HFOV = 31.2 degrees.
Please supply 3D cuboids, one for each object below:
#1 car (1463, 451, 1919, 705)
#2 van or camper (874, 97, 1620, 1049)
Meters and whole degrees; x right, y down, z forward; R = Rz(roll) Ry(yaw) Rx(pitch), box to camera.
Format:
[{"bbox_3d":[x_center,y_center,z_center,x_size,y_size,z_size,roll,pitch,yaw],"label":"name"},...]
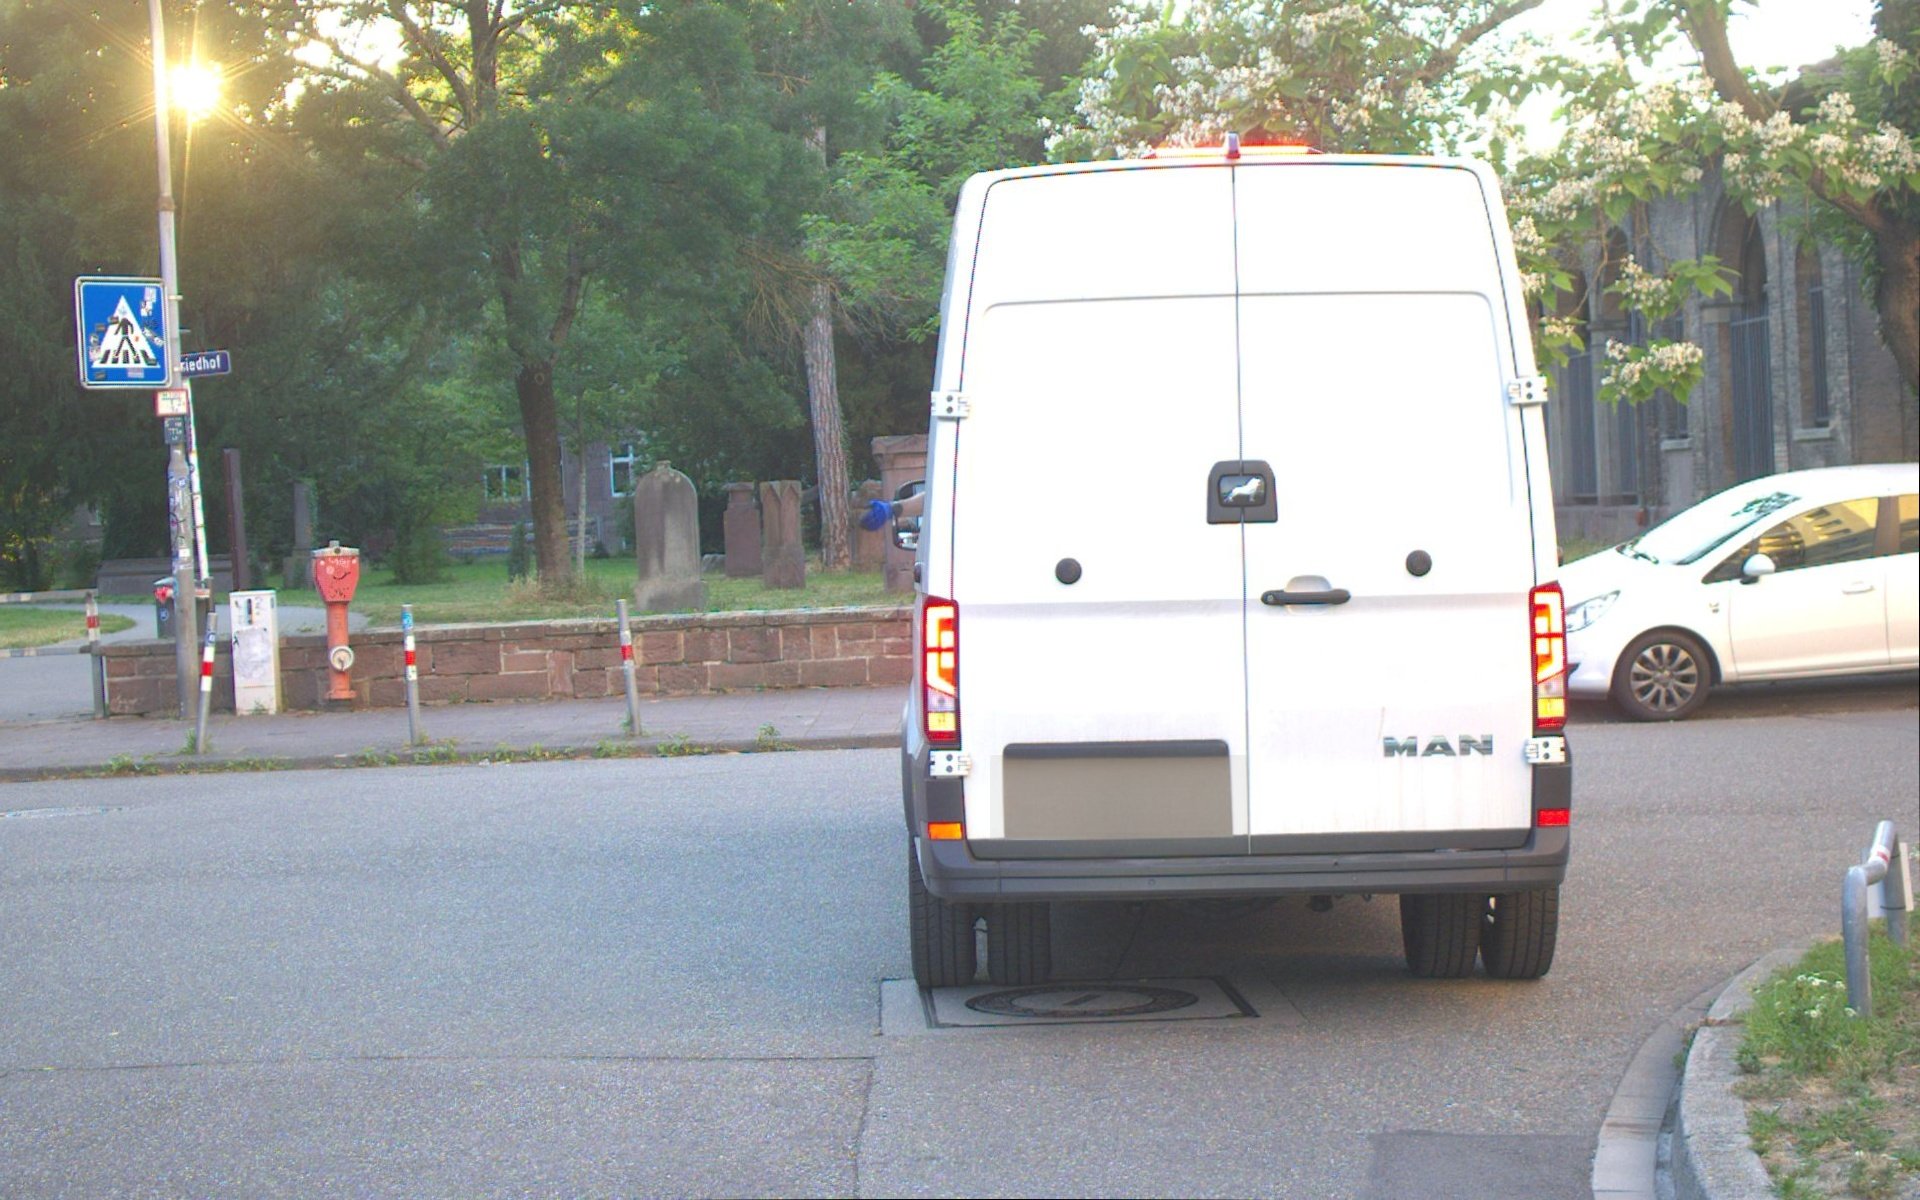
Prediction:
[{"bbox_3d":[5.511,-0.191,23.157,3.854,1.568,1.958,-2,2,-3],"label":"car"},{"bbox_3d":[0.727,-0.120,12.856,1.993,2.609,6.403,2,1,-2],"label":"van or camper"}]
